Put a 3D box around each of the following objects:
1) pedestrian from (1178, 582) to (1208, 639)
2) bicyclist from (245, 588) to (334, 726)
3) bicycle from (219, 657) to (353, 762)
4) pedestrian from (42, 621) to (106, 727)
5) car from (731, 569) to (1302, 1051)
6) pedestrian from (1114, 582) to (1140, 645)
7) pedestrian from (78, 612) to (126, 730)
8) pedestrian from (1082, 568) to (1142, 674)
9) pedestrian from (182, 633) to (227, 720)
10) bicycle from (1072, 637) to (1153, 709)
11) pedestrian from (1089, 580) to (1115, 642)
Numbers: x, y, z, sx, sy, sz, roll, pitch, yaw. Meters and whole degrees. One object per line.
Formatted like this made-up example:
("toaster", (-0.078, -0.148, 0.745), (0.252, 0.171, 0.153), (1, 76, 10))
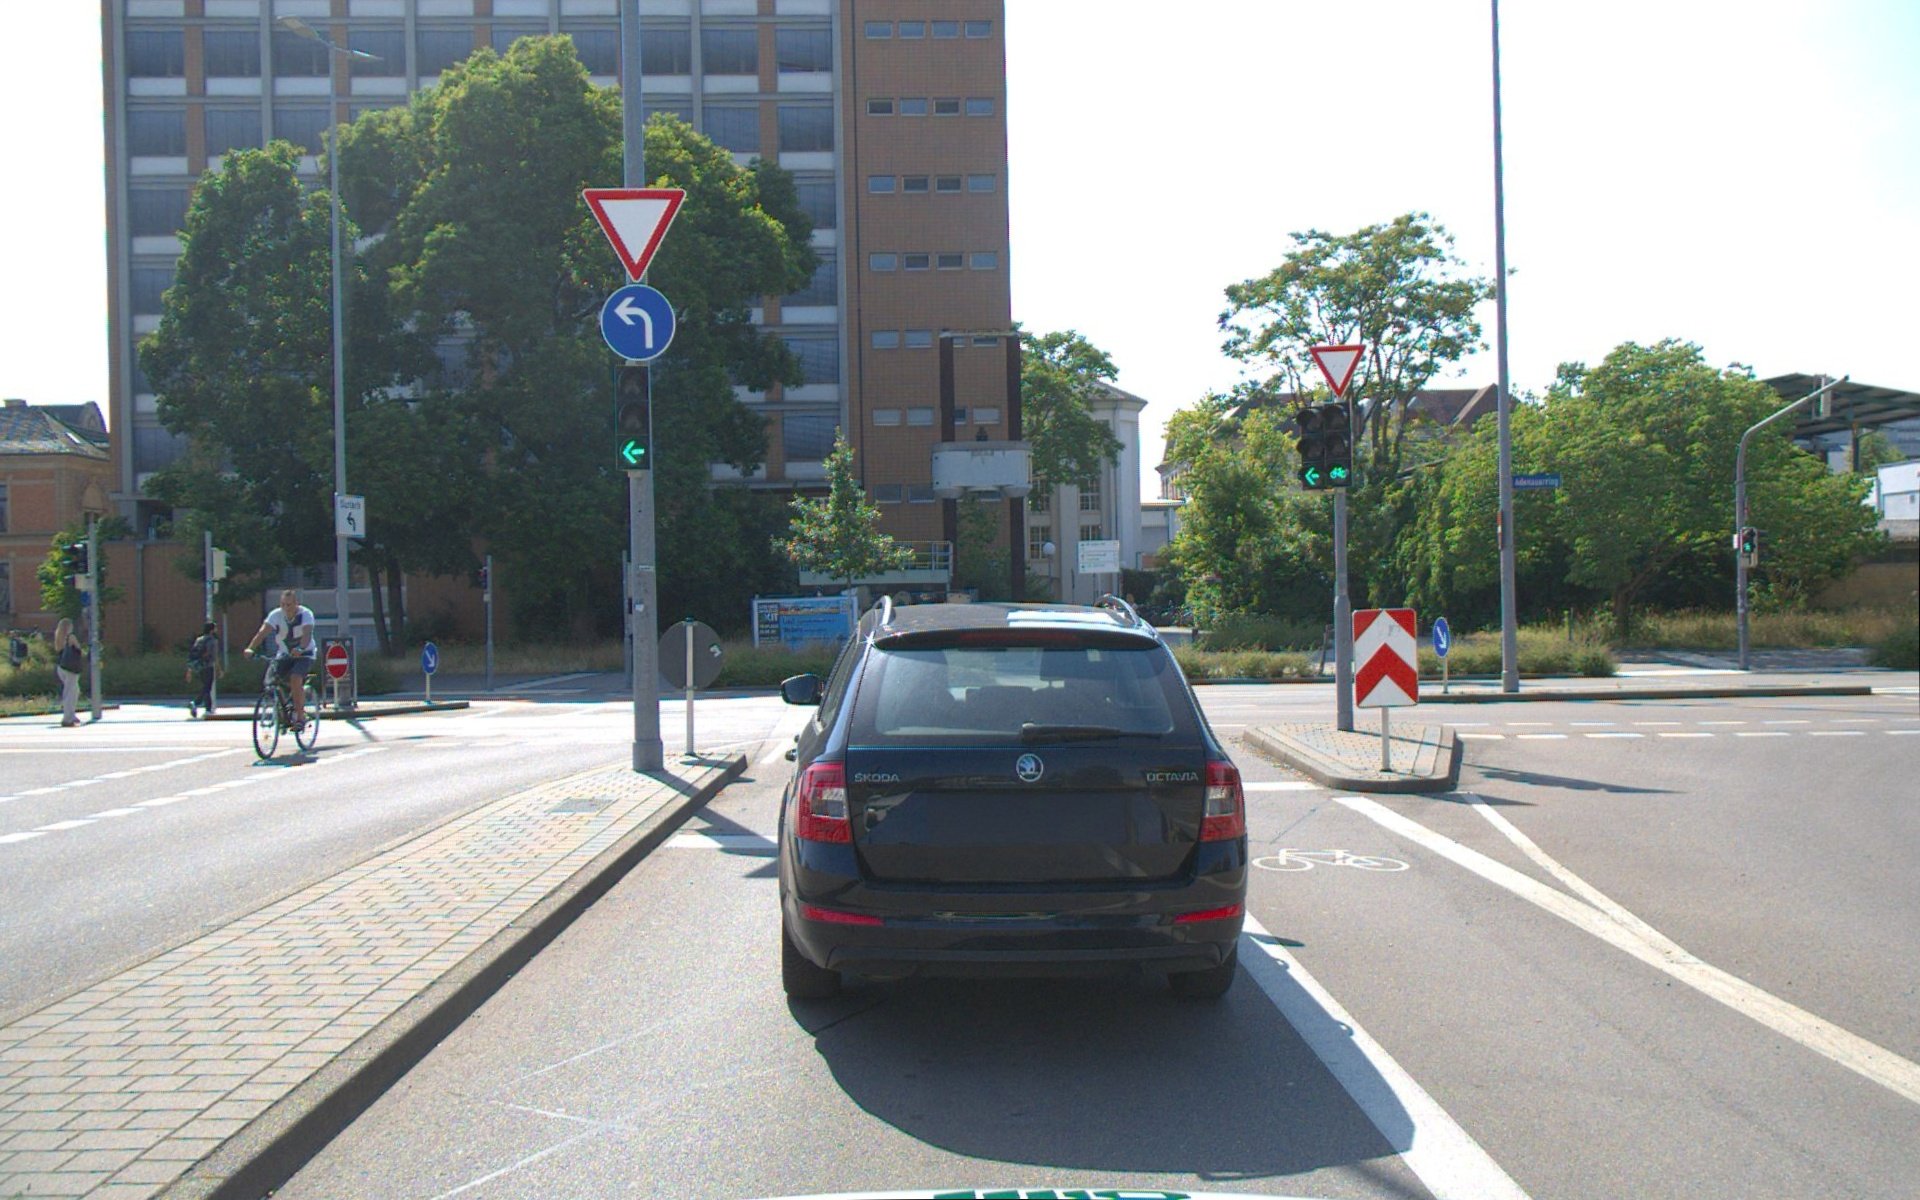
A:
("pedestrian", (8.005, 0.365, 56.766), (0.778, 1.907, 0.639), (-3, 0, 23))
("bicyclist", (-7.307, 0.612, 18.058), (0.528, 1.441, 1.029), (-2, -1, -3))
("bicycle", (-7.316, 1.162, 18.047), (0.690, 0.994, 2.029), (-2, 0, -3))
("pedestrian", (-15.375, 1.283, 28.723), (0.724, 1.783, 1.105), (-2, -2, -17))
("car", (0.185, 0.645, 6.978), (1.743, 1.468, 3.818), (0, 0, 0))
("pedestrian", (5.144, 0.412, 50.886), (0.624, 1.907, 0.796), (-3, 0, -1))
("pedestrian", (-15.219, 1.249, 29.320), (0.610, 2.049, 0.678), (2, -2, -38))
("pedestrian", (2.177, 0.301, 23.801), (0.573, 1.492, 1.010), (0, -1, -13))
("pedestrian", (-13.672, 1.376, 29.930), (0.621, 1.518, 0.614), (-2, 0, -17))
("bicycle", (2.175, 1.028, 23.837), (0.586, 0.948, 2.022), (0, 0, -12))
("pedestrian", (4.446, 0.344, 51.784), (0.584, 1.907, 0.639), (-2, -1, 22))
